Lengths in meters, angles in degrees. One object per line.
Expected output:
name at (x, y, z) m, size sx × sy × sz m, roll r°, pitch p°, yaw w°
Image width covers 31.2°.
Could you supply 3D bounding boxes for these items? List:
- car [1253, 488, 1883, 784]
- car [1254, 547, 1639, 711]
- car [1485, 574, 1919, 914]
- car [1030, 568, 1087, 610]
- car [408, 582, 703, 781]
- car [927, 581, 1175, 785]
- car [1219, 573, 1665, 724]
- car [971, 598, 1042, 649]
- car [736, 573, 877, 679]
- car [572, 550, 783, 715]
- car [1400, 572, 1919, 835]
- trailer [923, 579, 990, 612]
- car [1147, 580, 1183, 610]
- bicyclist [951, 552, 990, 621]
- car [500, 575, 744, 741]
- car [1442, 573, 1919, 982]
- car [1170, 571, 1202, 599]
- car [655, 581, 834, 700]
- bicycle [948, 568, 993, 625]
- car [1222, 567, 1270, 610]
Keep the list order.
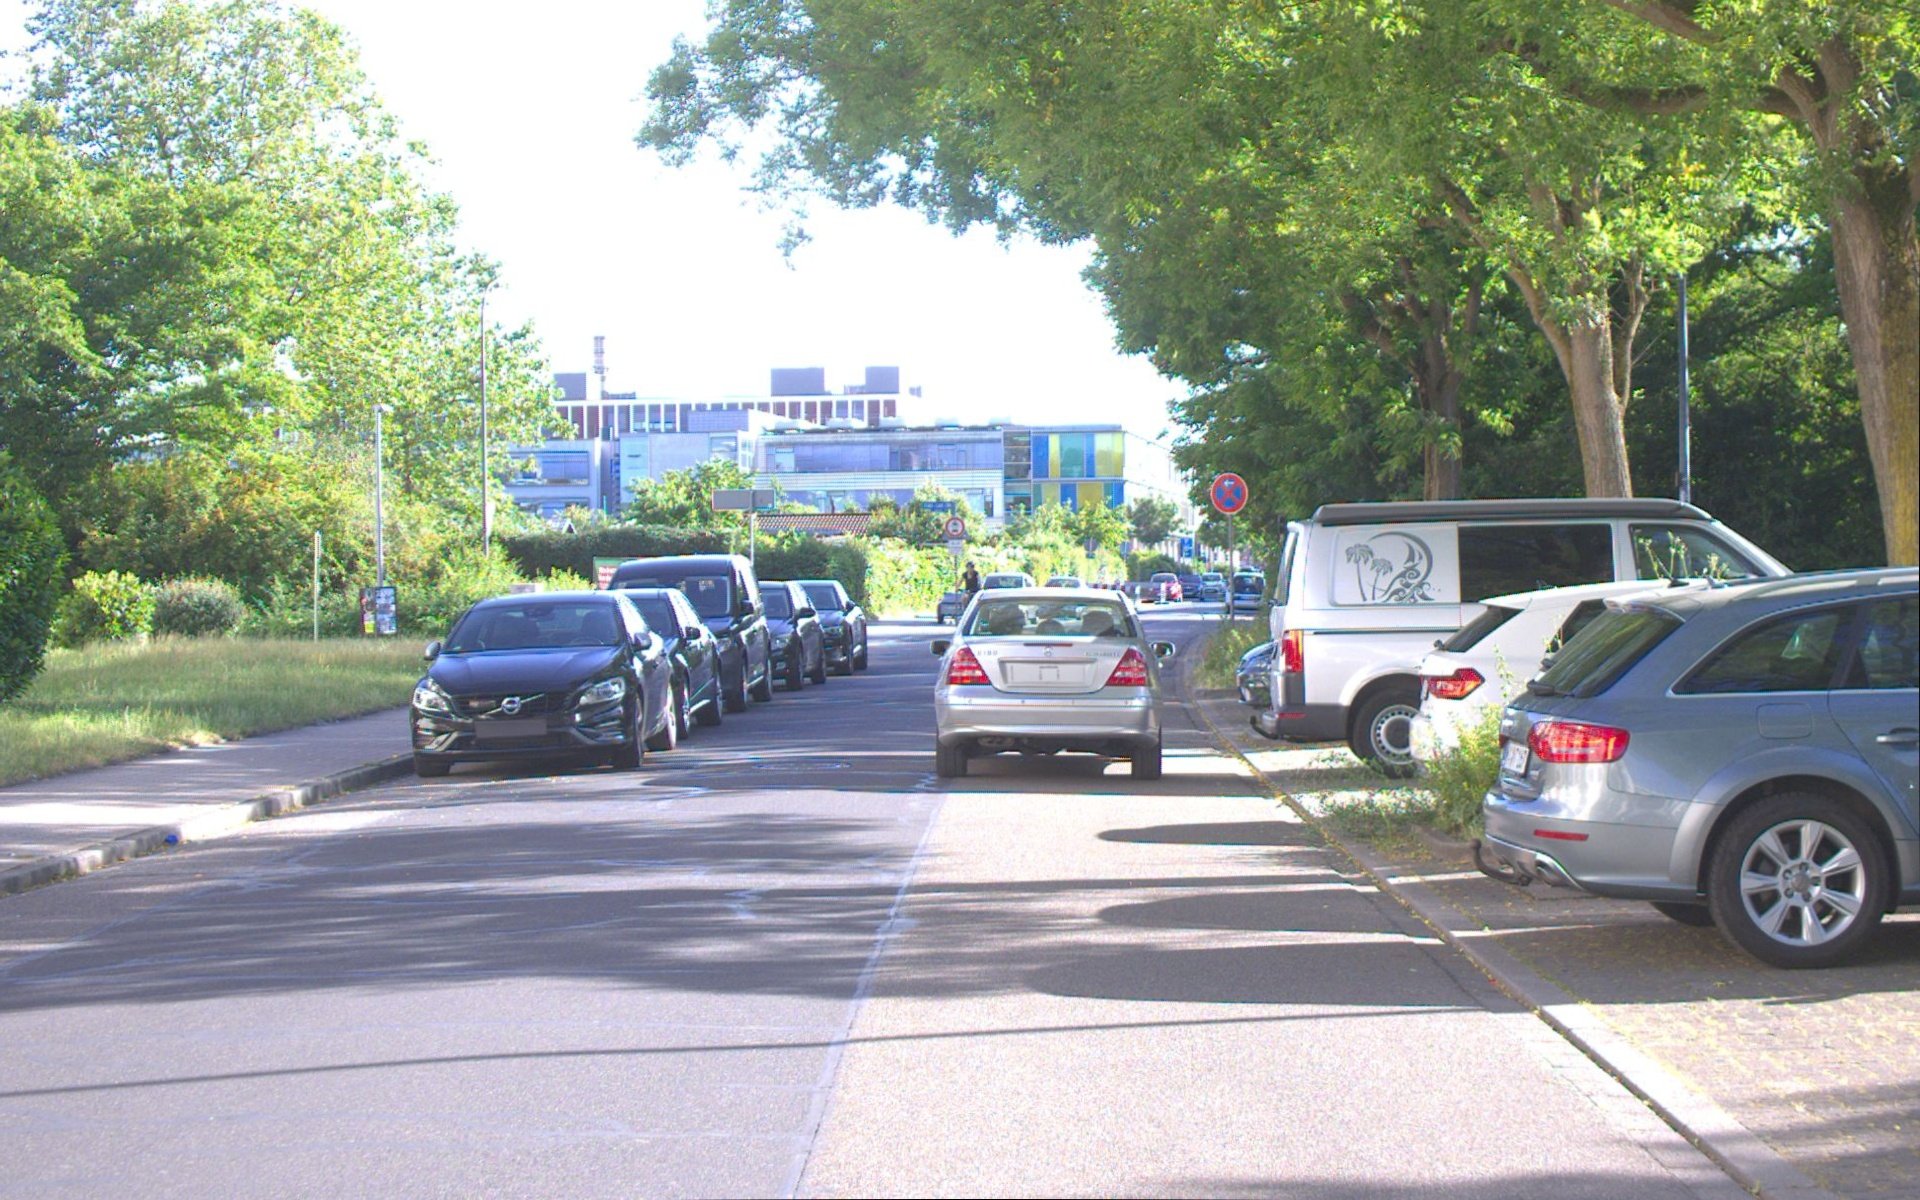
car at (4.517, 0.259, 26.133) m, size 4.452 × 2.009 × 2.021 m, roll -2°, pitch 1°, yaw 4°
car at (5.424, 0.308, 38.749) m, size 4.149 × 1.689 × 1.774 m, roll -2°, pitch 1°, yaw 5°
car at (4.571, 0.606, 16.312) m, size 3.908 × 1.430 × 1.636 m, roll -3°, pitch 0°, yaw 3°
car at (3.737, -0.419, 130.015) m, size 1.644 × 1.551 × 4.416 m, roll -1°, pitch 0°, yaw 8°
car at (-3.328, 0.622, 29.159) m, size 1.840 × 1.476 × 4.800 m, roll -2°, pitch 0°, yaw 1°
car at (0.635, 0.585, 26.688) m, size 1.737 × 1.448 × 4.000 m, roll 0°, pitch 0°, yaw -1°
car at (5.005, 0.493, 36.160) m, size 4.451 × 1.409 × 1.775 m, roll -2°, pitch 1°, yaw 2°
car at (1.554, 0.742, 112.249) m, size 1.644 × 1.594 × 4.309 m, roll 1°, pitch 1°, yaw 10°
car at (-2.350, 0.372, 53.658) m, size 1.727 × 1.458 × 4.682 m, roll -2°, pitch 1°, yaw 3°
car at (-3.288, 0.344, 40.912) m, size 1.840 × 1.774 × 4.888 m, roll -2°, pitch 0°, yaw 3°
car at (4.664, 0.591, 20.705) m, size 3.908 × 1.430 × 1.636 m, roll -2°, pitch 1°, yaw 6°
trailer at (-0.098, -0.132, 102.242) m, size 1.545 × 0.950 × 2.646 m, roll 1°, pitch 0°, yaw 10°
car at (10.512, -0.285, 176.334) m, size 1.560 × 1.490 × 3.569 m, roll -1°, pitch 0°, yaw 8°
bicyclist at (0.255, -0.329, 83.422) m, size 0.845 × 1.652 × 1.064 m, roll -1°, pitch 0°, yaw 4°
car at (-3.383, 0.537, 35.225) m, size 1.840 × 1.476 × 4.574 m, roll -4°, pitch 0°, yaw 2°
car at (4.294, 0.624, 13.668) m, size 4.479 × 1.466 × 1.745 m, roll -1°, pitch 0°, yaw 0°
car at (12.776, -0.861, 194.292) m, size 1.560 × 1.489 × 3.569 m, roll 2°, pitch 1°, yaw 8°
car at (-2.912, 0.526, 47.332) m, size 1.840 × 1.449 × 4.018 m, roll -2°, pitch 1°, yaw 5°
bicycle at (0.269, -0.094, 83.716) m, size 0.851 × 1.366 × 3.220 m, roll -1°, pitch 0°, yaw 4°
car at (10.742, -0.445, 129.060) m, size 1.556 × 1.533 × 3.554 m, roll 1°, pitch 1°, yaw 8°
